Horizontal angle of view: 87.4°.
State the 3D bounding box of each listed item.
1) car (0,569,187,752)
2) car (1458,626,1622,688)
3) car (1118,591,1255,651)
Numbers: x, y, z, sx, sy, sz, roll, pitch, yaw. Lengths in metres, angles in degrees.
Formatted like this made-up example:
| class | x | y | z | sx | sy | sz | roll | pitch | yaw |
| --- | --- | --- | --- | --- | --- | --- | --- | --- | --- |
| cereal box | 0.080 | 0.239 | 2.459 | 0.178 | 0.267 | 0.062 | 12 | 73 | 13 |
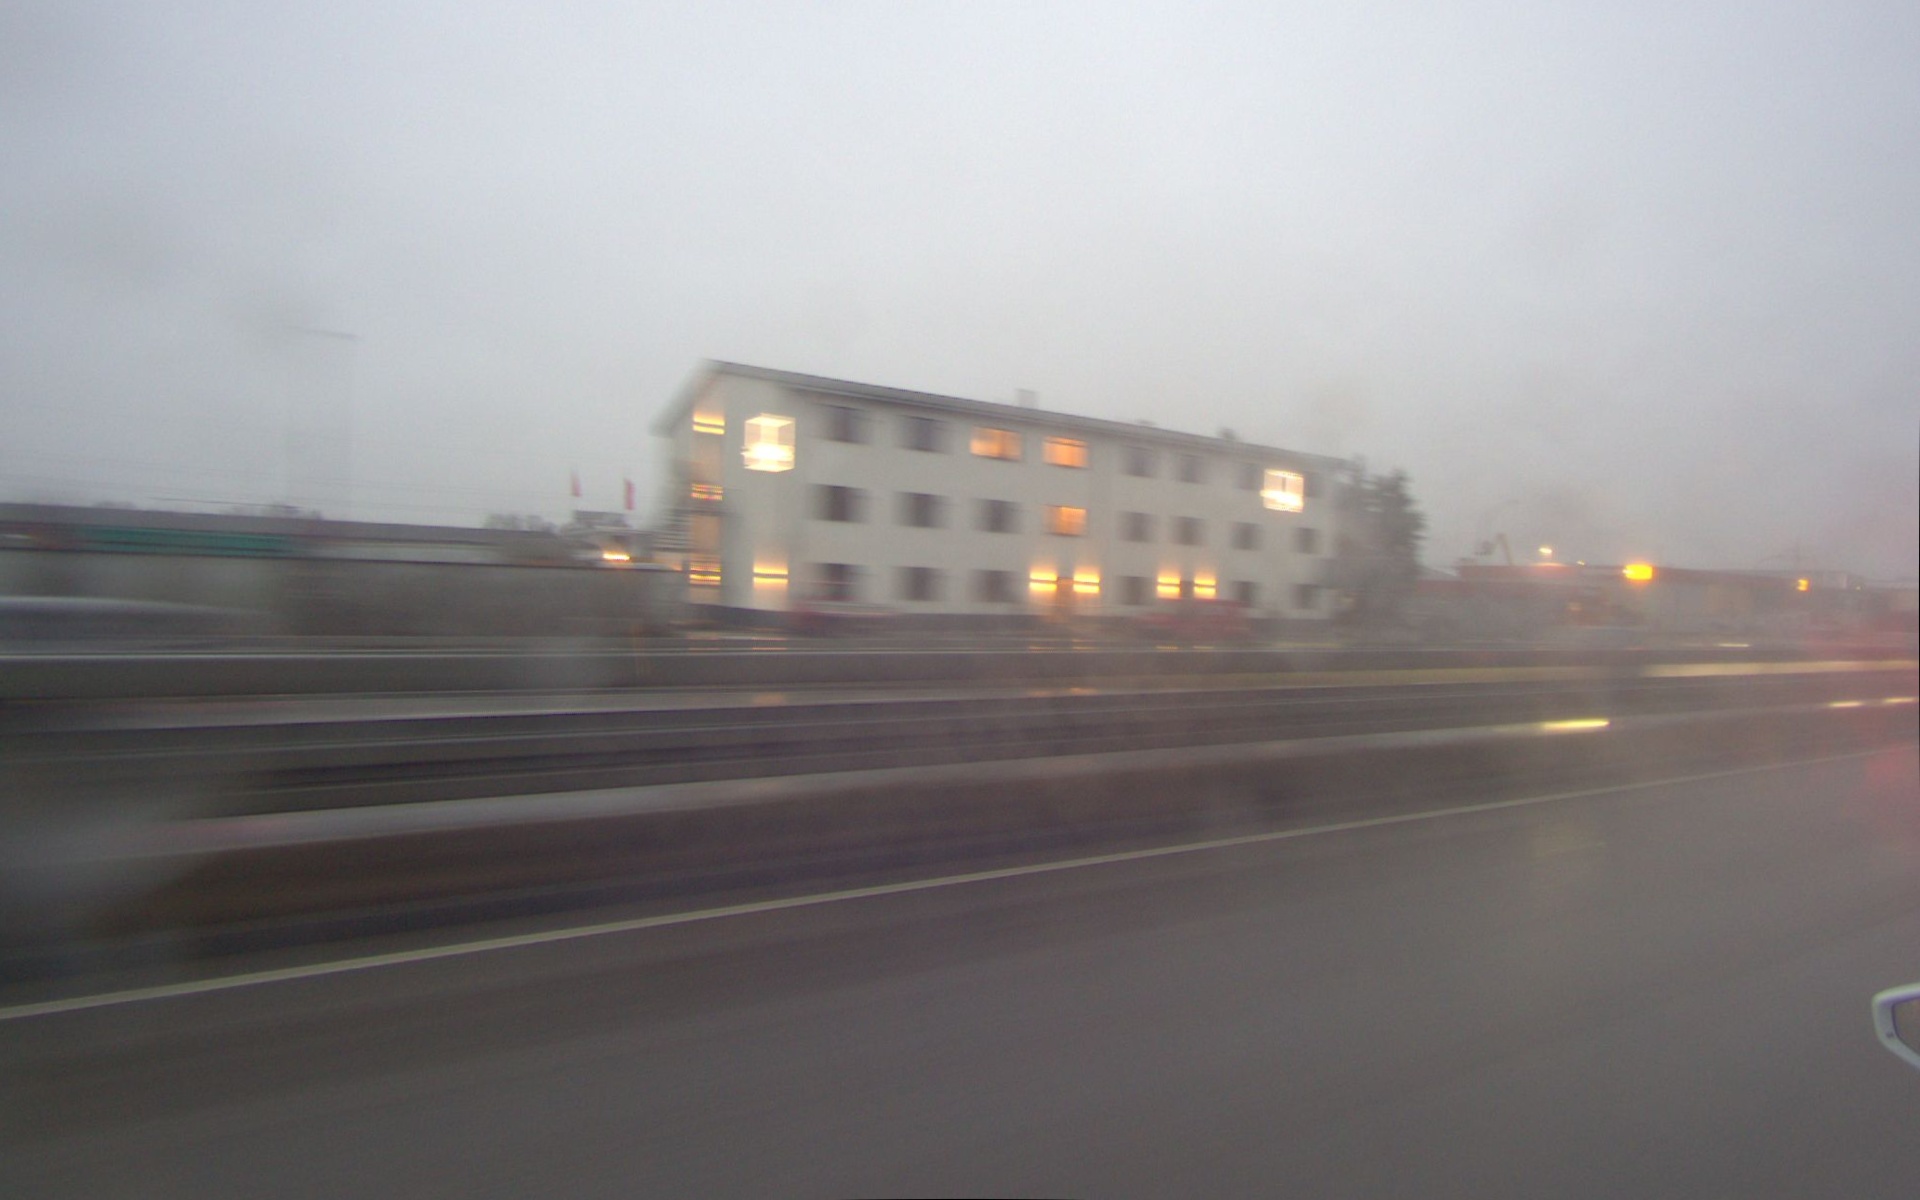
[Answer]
| class | x | y | z | sx | sy | sz | roll | pitch | yaw |
| --- | --- | --- | --- | --- | --- | --- | --- | --- | --- |
| car | -9.750 | 0.501 | 9.231 | 3.954 | 1.613 | 1.715 | 2 | 1 | -31 |
| car | 12.605 | 1.211 | 21.776 | 3.756 | 1.203 | 1.450 | 2 | 0 | -31 |
| car | 8.432 | 0.782 | 37.311 | 4.908 | 2.040 | 2.142 | 2 | 0 | -33 |
